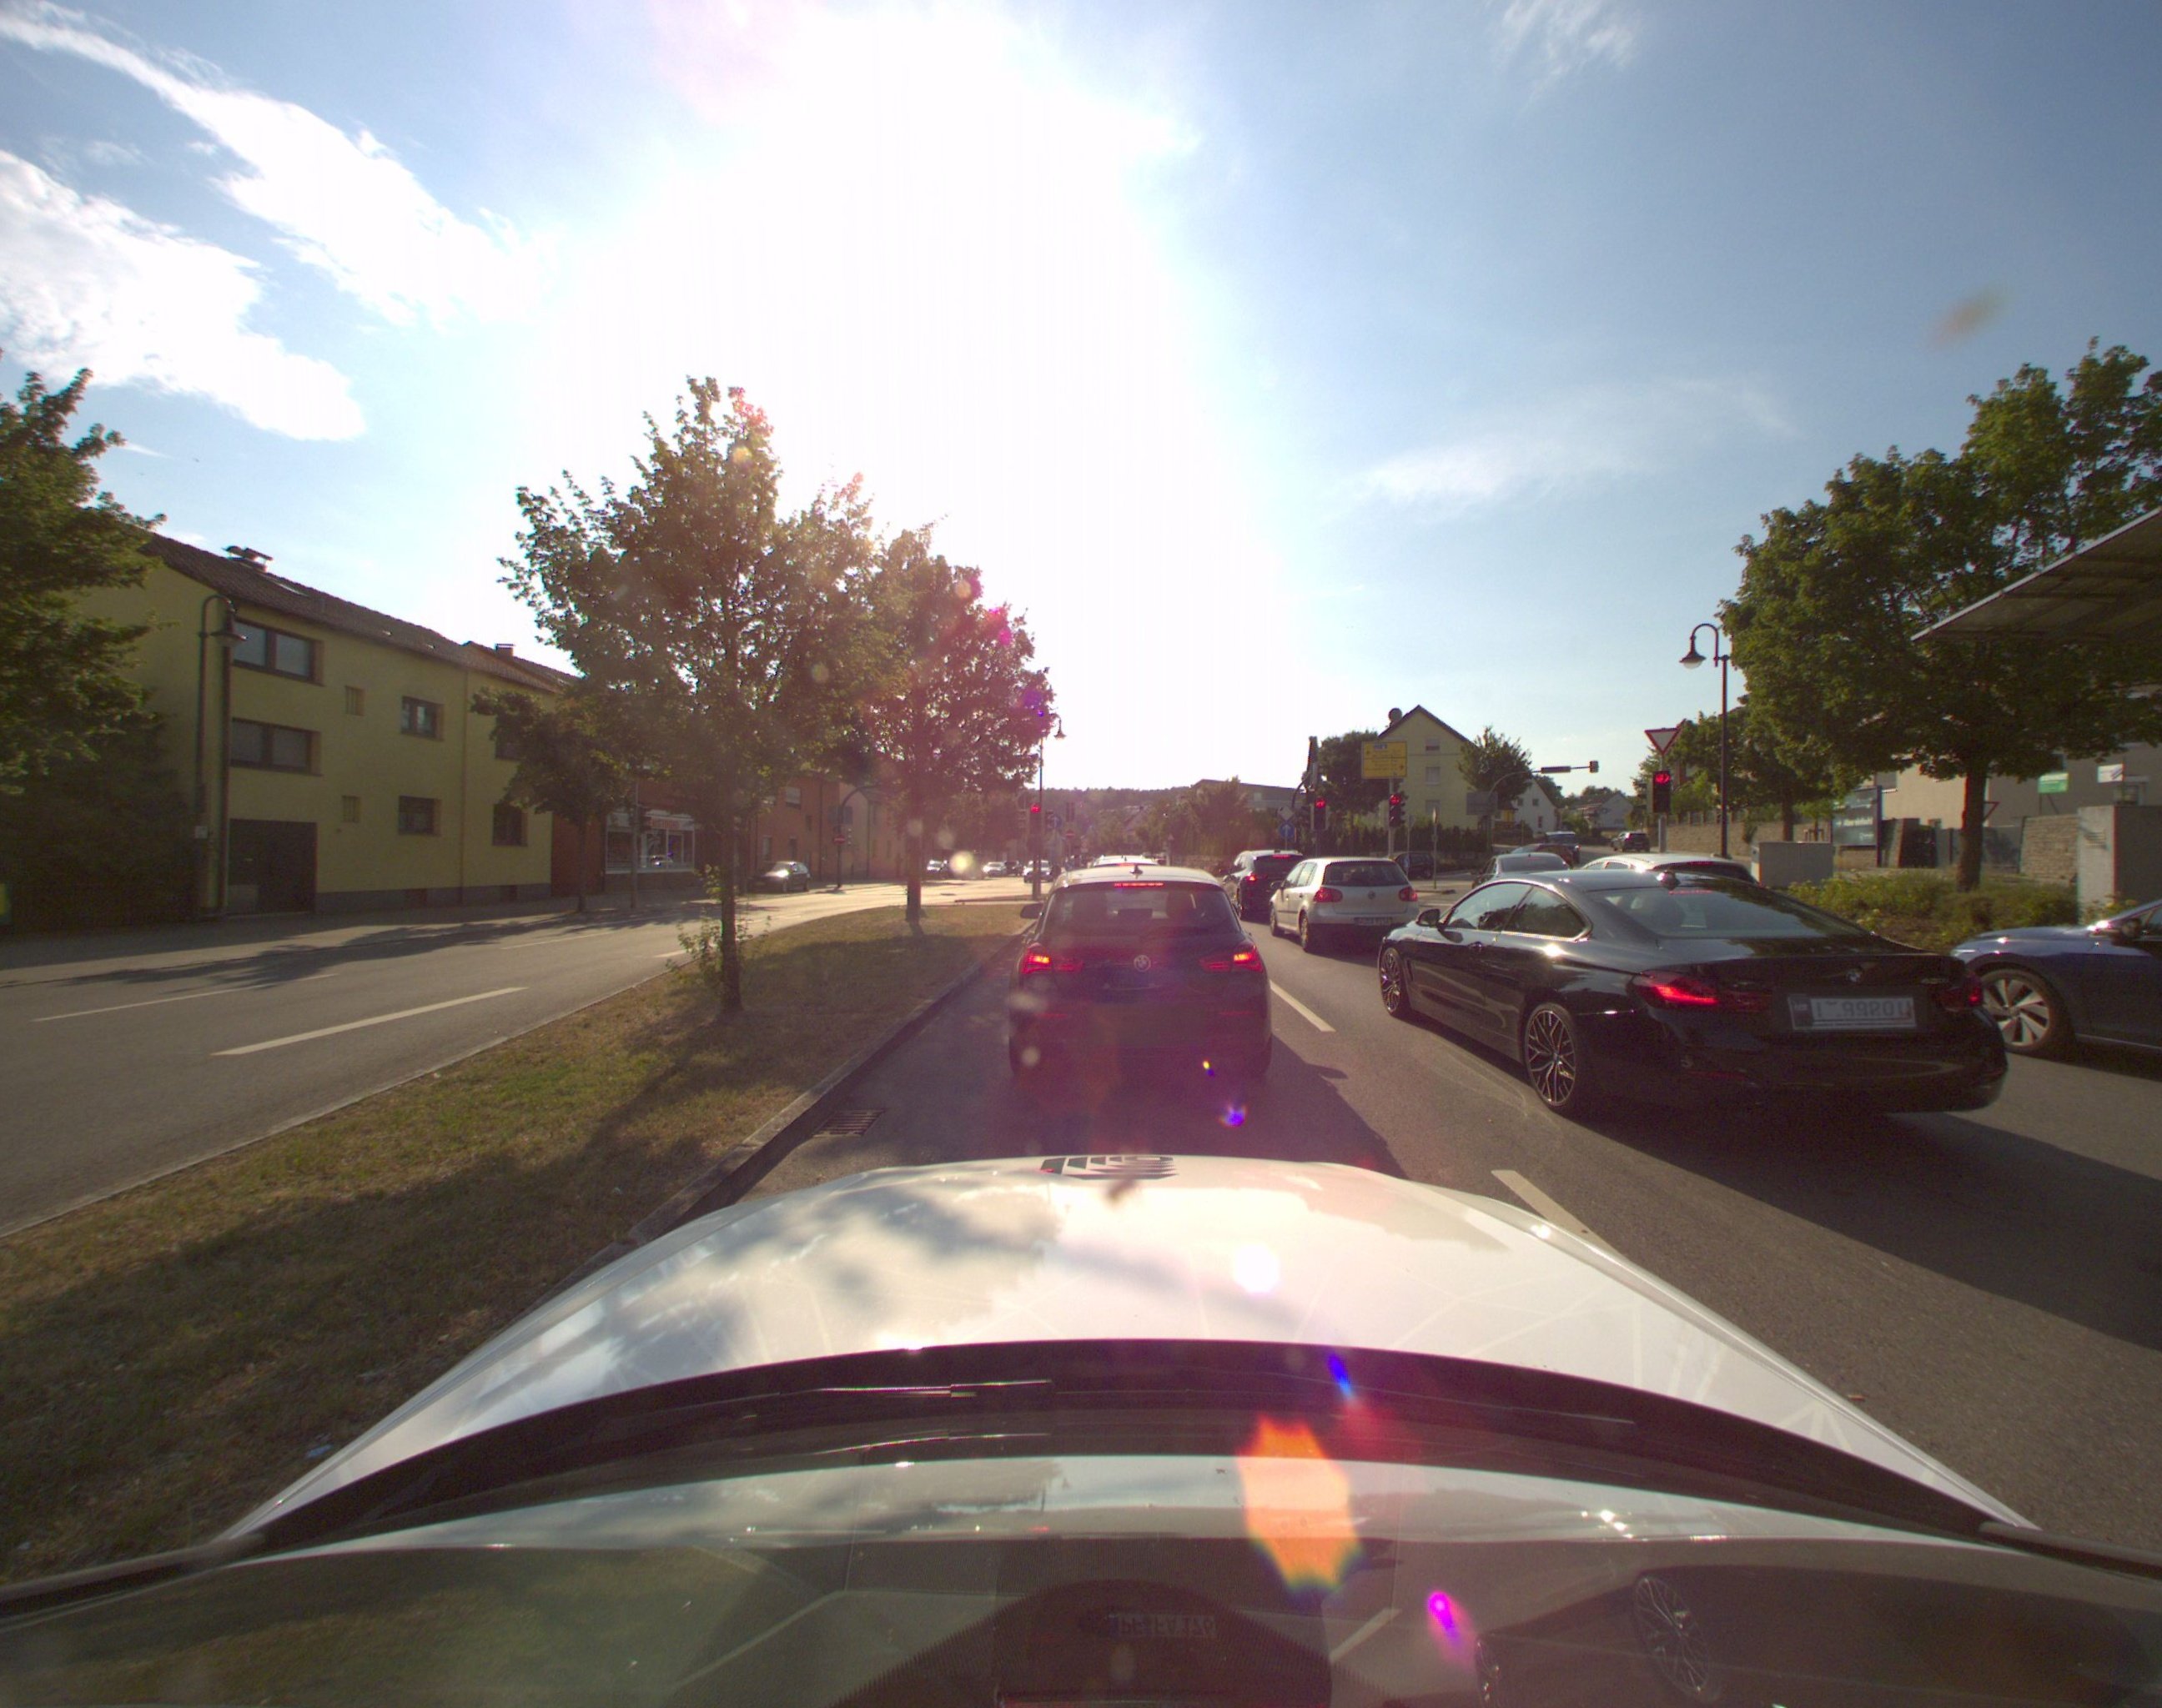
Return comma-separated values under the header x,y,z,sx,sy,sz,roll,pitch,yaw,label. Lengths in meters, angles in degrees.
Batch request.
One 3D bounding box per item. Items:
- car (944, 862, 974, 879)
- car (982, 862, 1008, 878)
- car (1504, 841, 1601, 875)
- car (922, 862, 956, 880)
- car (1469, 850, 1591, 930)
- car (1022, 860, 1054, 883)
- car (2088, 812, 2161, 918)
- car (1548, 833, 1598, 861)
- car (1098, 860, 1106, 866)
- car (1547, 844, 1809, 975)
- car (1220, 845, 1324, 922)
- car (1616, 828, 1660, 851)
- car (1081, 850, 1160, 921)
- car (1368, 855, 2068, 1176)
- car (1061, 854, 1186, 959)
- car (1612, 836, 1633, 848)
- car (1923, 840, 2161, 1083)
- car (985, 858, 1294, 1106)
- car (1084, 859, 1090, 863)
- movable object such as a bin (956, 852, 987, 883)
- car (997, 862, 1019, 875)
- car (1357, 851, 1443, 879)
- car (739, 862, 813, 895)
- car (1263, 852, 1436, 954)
x,y,z,sx,sy,sz,roll,pitch,yaw,label
-11.046,1.467,73.850,1.729,1.301,4.005,4,0,5,car
-8.252,1.538,78.701,1.729,1.301,3.804,4,0,5,car
24.066,0.194,41.562,4.430,1.641,1.836,0,0,-20,car
-11.743,1.421,67.587,1.728,1.301,4.006,4,0,6,car
9.881,0.712,18.230,1.642,1.542,4.420,-2,0,19,car
-2.931,1.156,56.140,1.832,1.482,4.002,-1,0,2,car
18.492,0.158,12.377,3.793,1.632,1.784,0,0,10,car
32.581,-0.458,53.873,1.825,1.739,4.813,-1,0,43,car
5.152,2.290,202.702,1.729,1.301,3.804,4,0,5,car
8.109,0.669,11.457,1.608,1.542,3.326,-2,0,9,car
4.568,0.648,20.037,1.755,1.656,3.905,-2,0,2,car
43.795,-1.123,64.087,1.948,1.680,4.237,-2,0,22,car
1.020,0.738,21.143,1.781,1.594,4.283,-2,0,2,car
3.618,0.736,5.815,1.755,1.397,4.283,-2,0,2,car
0.718,0.777,14.104,1.781,1.494,4.283,-2,0,2,car
77.239,-1.675,116.191,1.946,1.680,4.241,-2,0,41,car
7.423,0.649,4.245,1.754,1.453,4.323,-2,0,4,car
0.440,0.769,6.960,1.781,1.397,4.283,-2,0,2,car
1.910,2.281,262.247,1.729,1.301,3.804,4,0,5,car
-9.051,1.110,67.791,1.729,2.442,4.452,-1,0,3,movable object such as a bin
-8.037,1.576,89.984,1.729,1.301,3.804,4,0,5,car
17.346,0.572,44.351,3.974,1.489,1.848,0,0,-1,car
-14.139,1.109,38.025,1.730,1.301,4.002,4,0,2,car
4.320,0.714,13.755,1.755,1.426,3.905,-2,0,2,car
